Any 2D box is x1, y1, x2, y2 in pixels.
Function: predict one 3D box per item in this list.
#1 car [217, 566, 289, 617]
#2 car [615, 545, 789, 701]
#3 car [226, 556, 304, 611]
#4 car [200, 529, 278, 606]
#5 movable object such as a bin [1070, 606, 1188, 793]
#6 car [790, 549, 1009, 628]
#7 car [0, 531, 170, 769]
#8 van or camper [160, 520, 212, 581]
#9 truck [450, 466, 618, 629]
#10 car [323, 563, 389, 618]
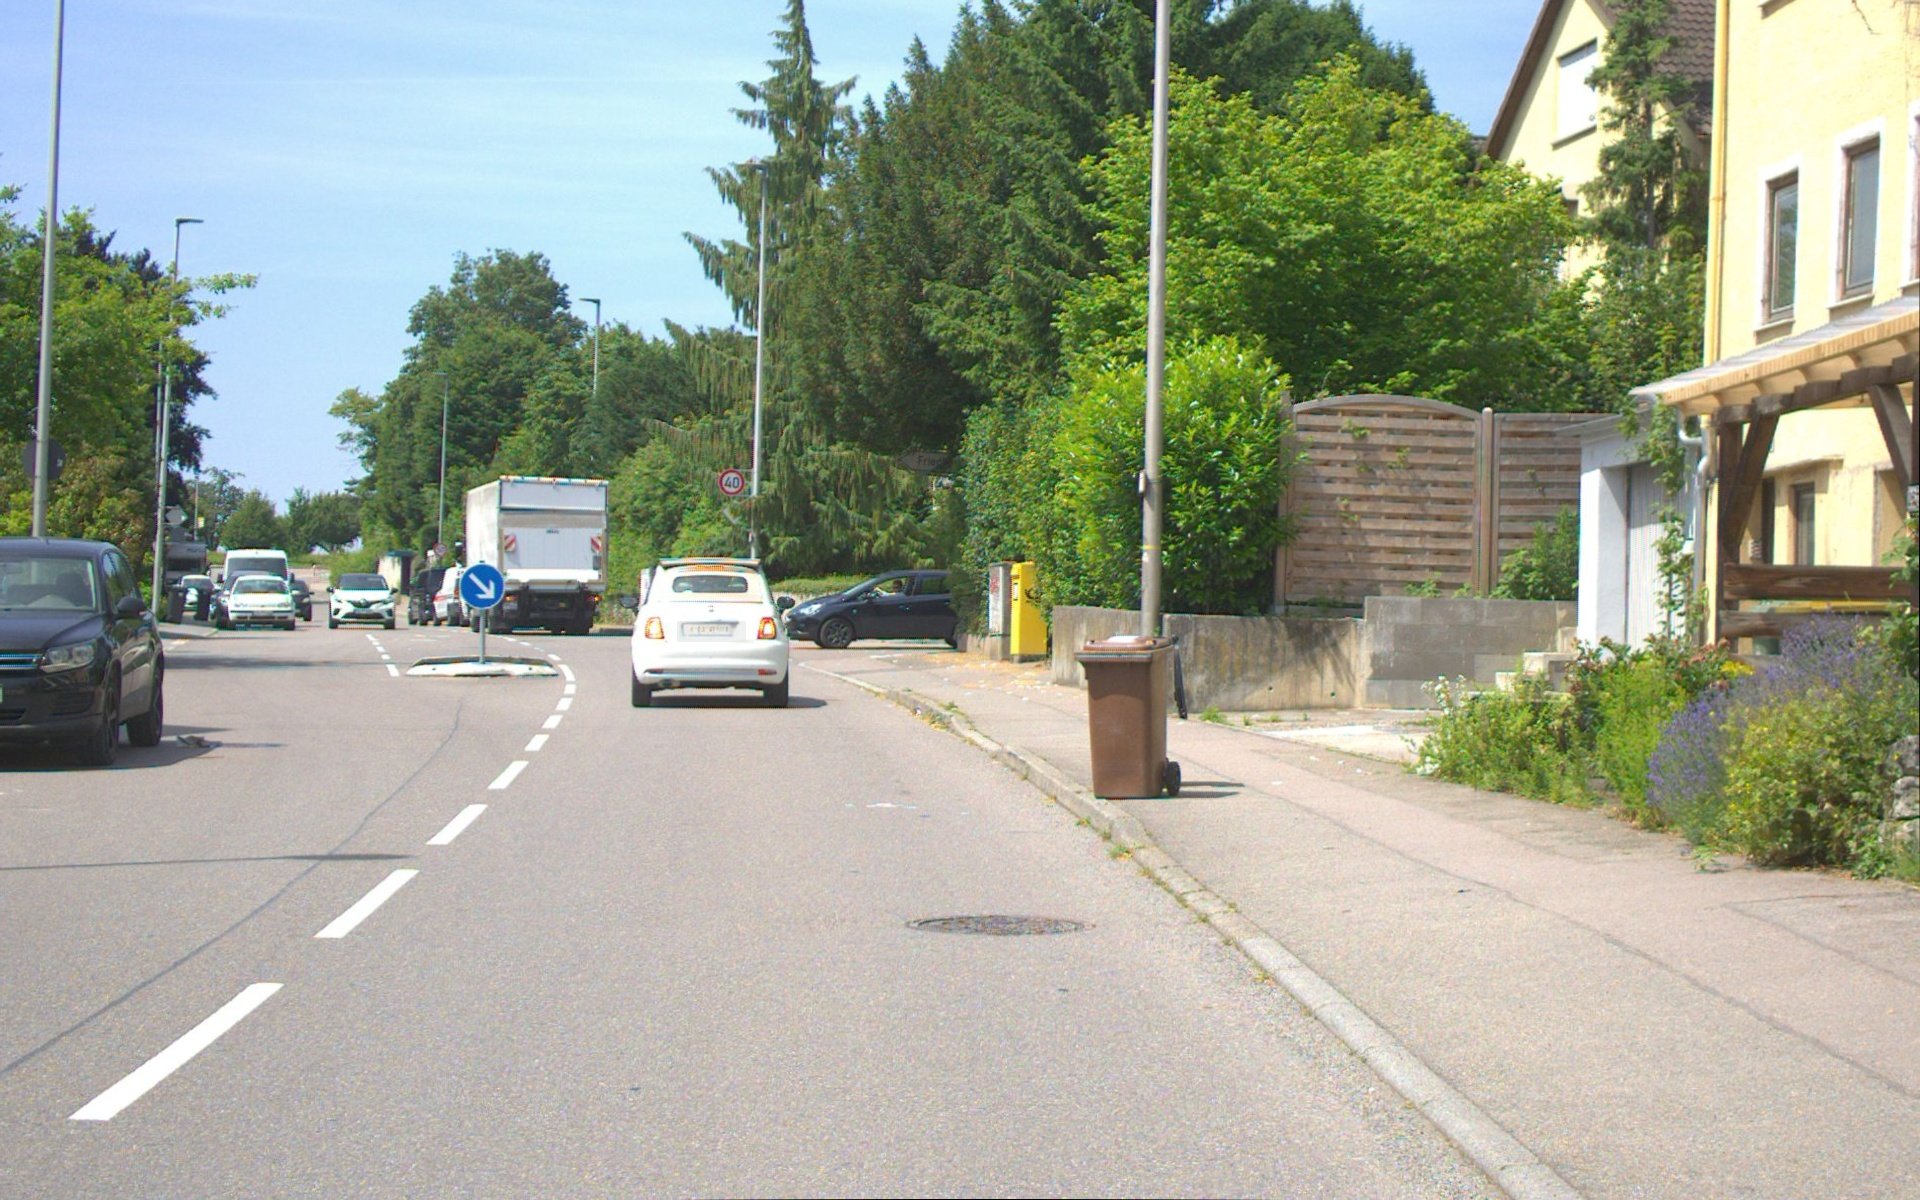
[{"bbox_3d":[-19.764,-0.247,96.011,1.804,1.393,3.969,0,0,-14],"label":"car"},{"bbox_3d":[-2.736,0.214,36.560,1.724,1.555,4.001,1,1,-4],"label":"car"},{"bbox_3d":[-18.363,-0.449,90.765,1.804,1.393,4.001,0,0,-14],"label":"car"},{"bbox_3d":[-21.518,-0.970,102.483,2.036,2.192,5.584,0,0,-14],"label":"car"},{"bbox_3d":[0.979,0.569,19.848,0.495,1.030,0.548,-3,1,20],"label":"movable object such as a bin"},{"bbox_3d":[-1.153,-0.221,64.487,3.932,1.453,1.659,0,0,-8],"label":"car"},{"bbox_3d":[-7.033,0.305,25.674,1.768,1.630,4.288,0,1,-7],"label":"car"},{"bbox_3d":[-39.483,-2.529,175.553,2.264,2.952,5.890,2,0,-10],"label":"van or camper"},{"bbox_3d":[-10.431,-1.225,83.507,3.067,3.761,7.870,0,0,-14],"label":"truck"},{"bbox_3d":[-17.004,-0.268,96.841,1.782,1.524,4.172,0,0,-10],"label":"car"}]
